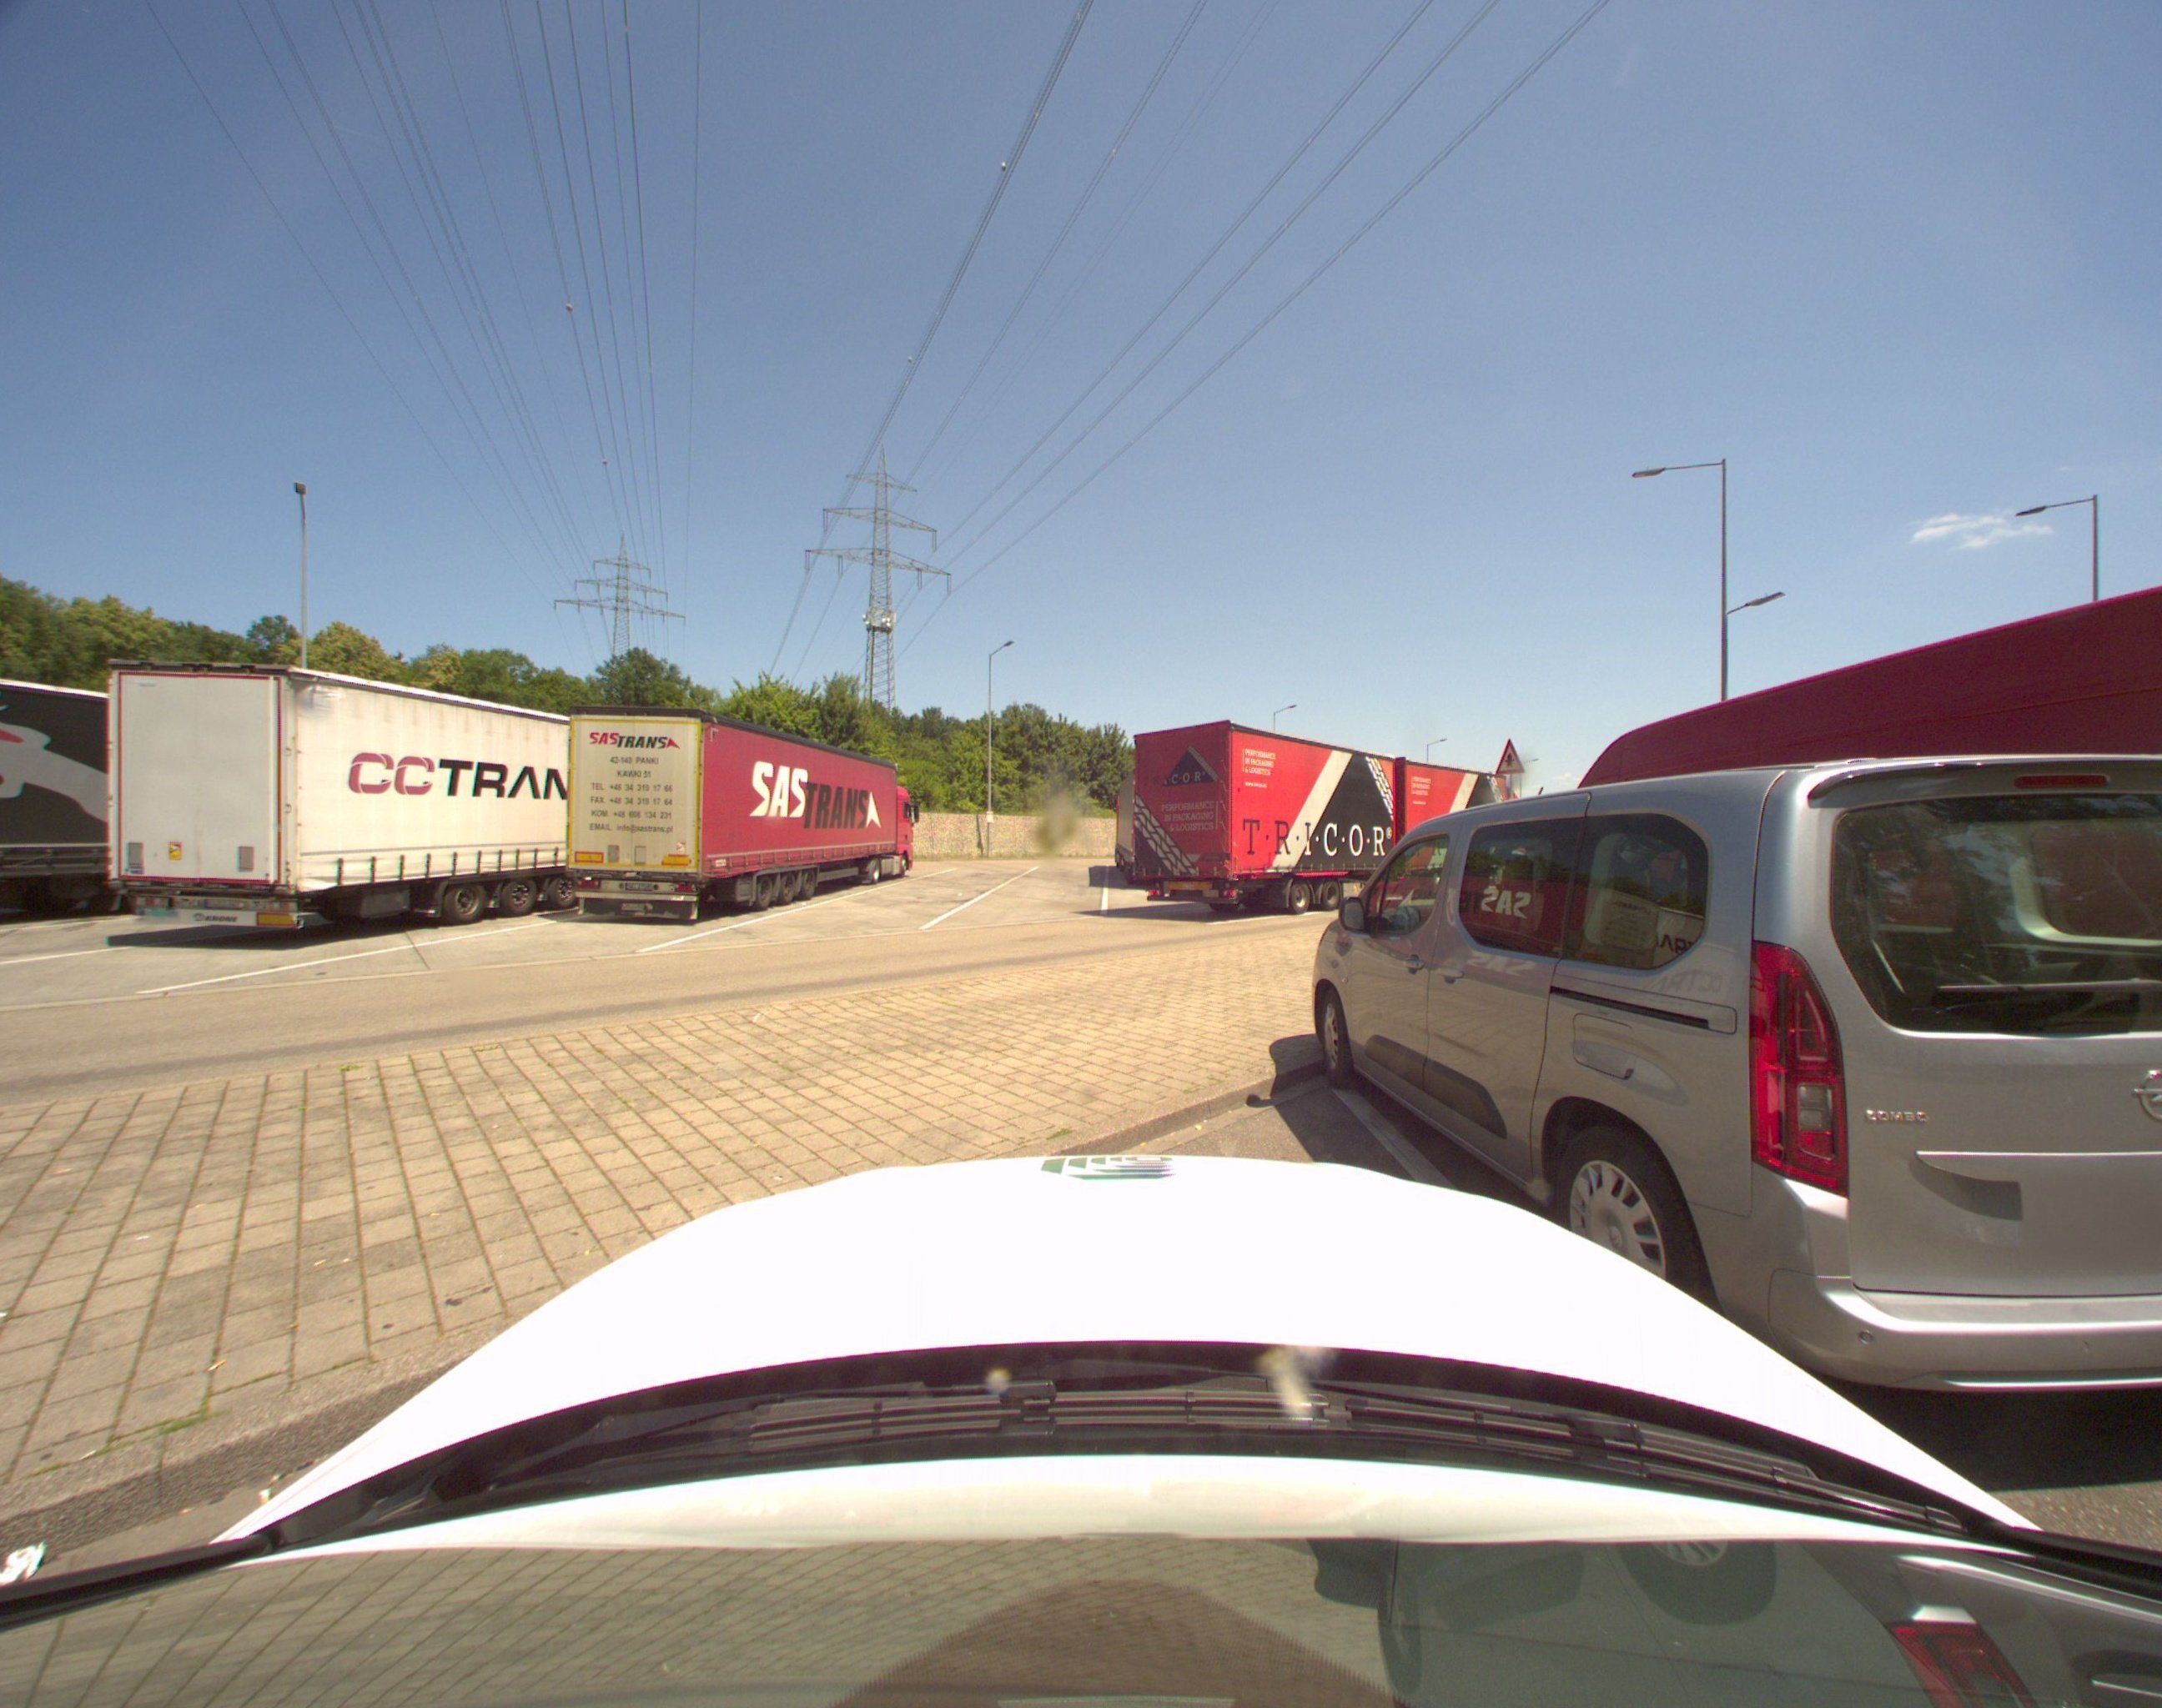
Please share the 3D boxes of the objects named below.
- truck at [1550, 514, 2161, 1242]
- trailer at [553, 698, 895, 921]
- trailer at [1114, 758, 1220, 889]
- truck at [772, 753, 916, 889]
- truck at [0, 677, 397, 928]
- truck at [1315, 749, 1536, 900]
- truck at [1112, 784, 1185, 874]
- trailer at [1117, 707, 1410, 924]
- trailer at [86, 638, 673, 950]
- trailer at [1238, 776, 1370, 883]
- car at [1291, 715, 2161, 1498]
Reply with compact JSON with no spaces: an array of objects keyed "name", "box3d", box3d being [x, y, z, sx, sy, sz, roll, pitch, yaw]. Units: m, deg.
[{"name":"truck","box3d":[5.098,0.049,4.881,1.983,2.623,5.312,-1,1,6]},{"name":"trailer","box3d":[-8.050,-0.917,21.518,2.739,4.057,13.292,-1,1,2]},{"name":"trailer","box3d":[3.041,-1.187,32.747,3.059,4.227,12.811,1,2,1]},{"name":"truck","box3d":[-7.843,-1.049,28.022,2.733,4.081,6.832,-1,1,1]},{"name":"truck","box3d":[-18.514,-0.854,15.972,2.627,4.018,8.640,-1,1,2]},{"name":"truck","box3d":[11.711,-0.893,26.811,10.666,4.127,2.661,-1,1,-44]},{"name":"truck","box3d":[3.122,-1.220,39.519,3.016,3.928,6.848,1,2,1]},{"name":"trailer","box3d":[4.875,-0.843,20.081,2.808,4.257,8.736,0,1,45]},{"name":"trailer","box3d":[-12.102,-0.894,16.079,2.734,4.263,9.740,-1,1,3]},{"name":"trailer","box3d":[9.928,-1.062,38.197,2.865,4.124,13.577,0,1,2]},{"name":"car","box3d":[2.469,0.529,3.859,1.821,1.753,3.998,-1,1,-2]}]
